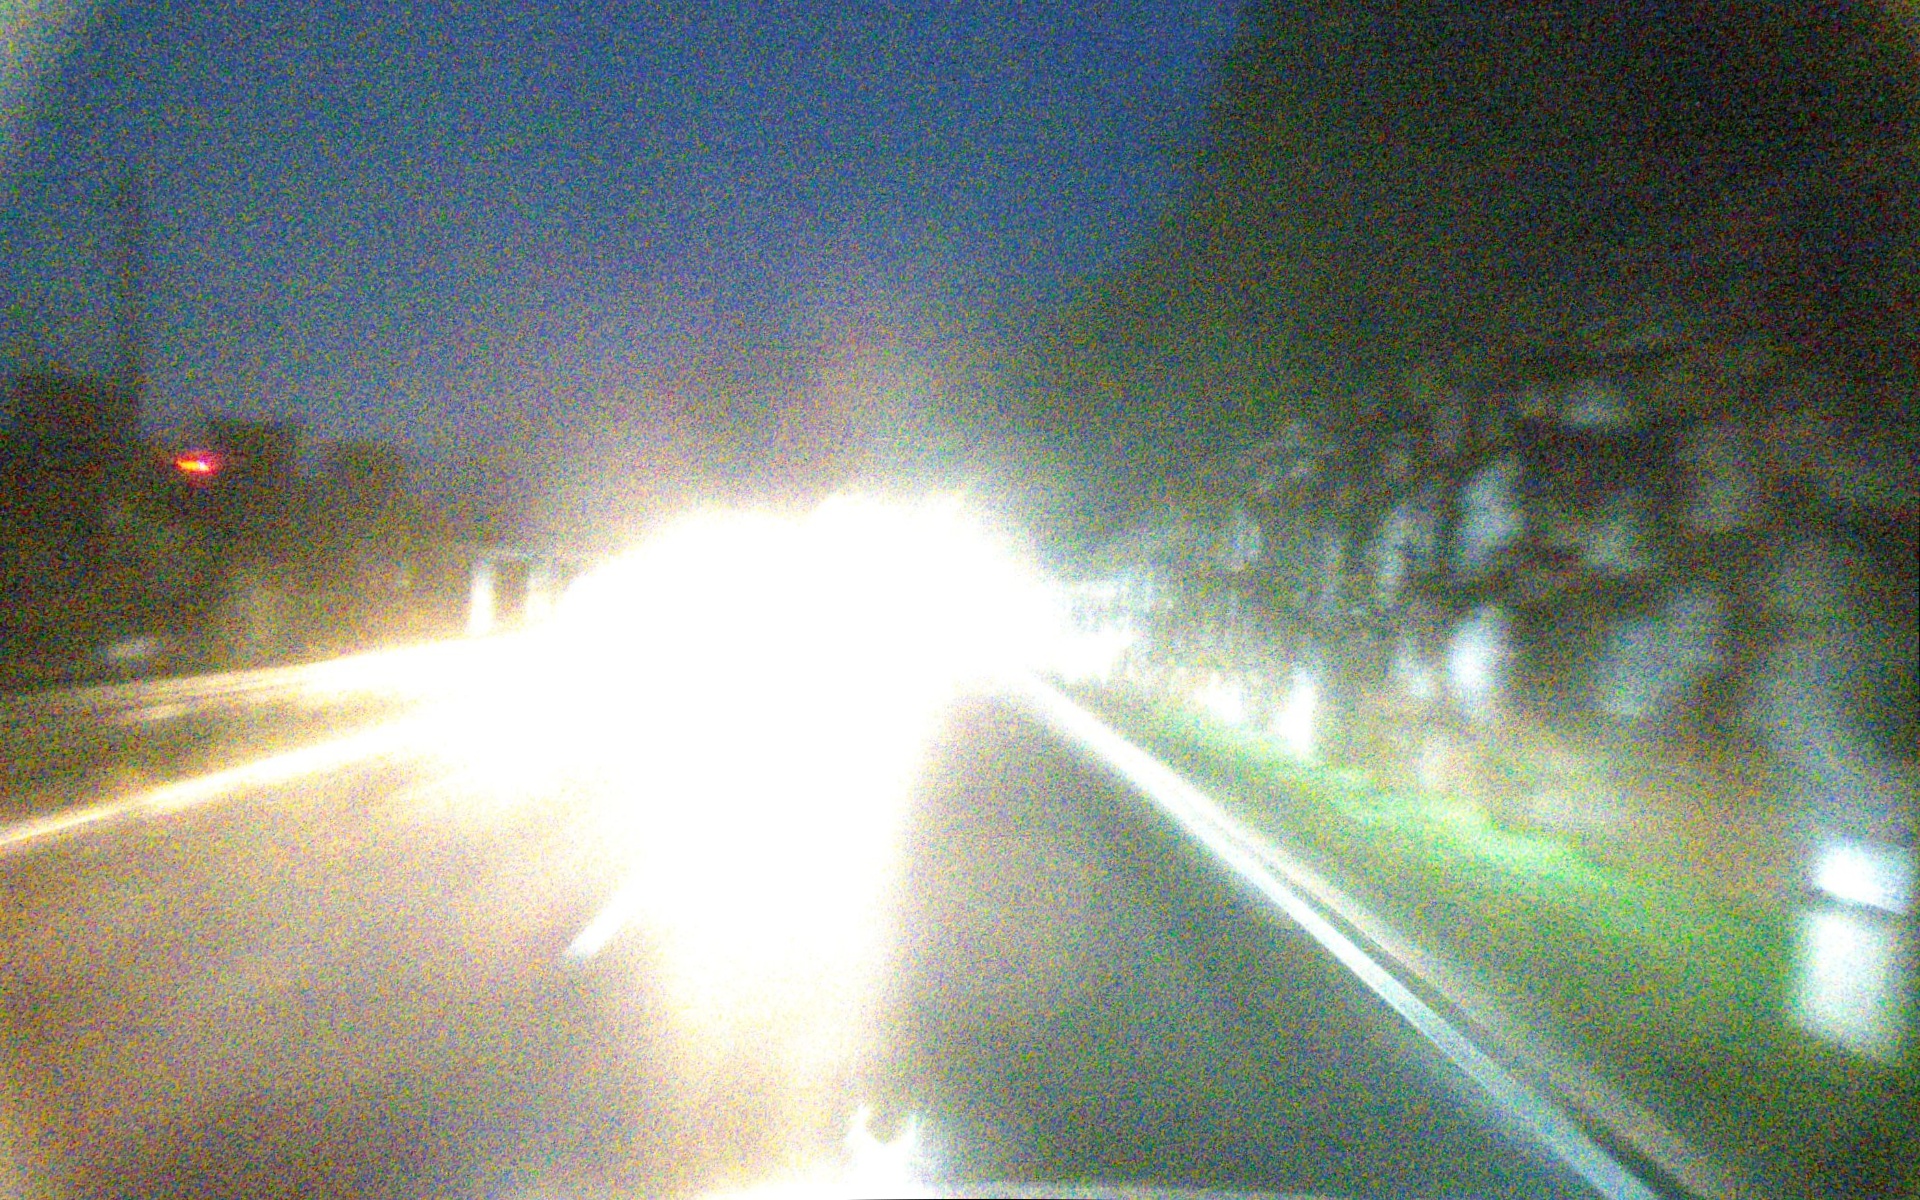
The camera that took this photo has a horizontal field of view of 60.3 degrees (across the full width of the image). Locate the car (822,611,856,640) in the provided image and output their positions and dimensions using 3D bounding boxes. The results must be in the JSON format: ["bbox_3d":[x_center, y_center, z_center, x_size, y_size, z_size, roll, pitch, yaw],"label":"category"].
[{"bbox_3d":[-6.973,1.442,95.559,1.847,1.603,4.047,1,0,-3],"label":"car"}]

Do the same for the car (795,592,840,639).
[{"bbox_3d":[-5.874,0.609,68.550,1.708,1.855,3.875,1,0,-3],"label":"car"}]

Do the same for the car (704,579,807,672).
[{"bbox_3d":[-4.151,0.493,34.091,1.707,1.790,3.876,1,0,-2],"label":"car"}]
